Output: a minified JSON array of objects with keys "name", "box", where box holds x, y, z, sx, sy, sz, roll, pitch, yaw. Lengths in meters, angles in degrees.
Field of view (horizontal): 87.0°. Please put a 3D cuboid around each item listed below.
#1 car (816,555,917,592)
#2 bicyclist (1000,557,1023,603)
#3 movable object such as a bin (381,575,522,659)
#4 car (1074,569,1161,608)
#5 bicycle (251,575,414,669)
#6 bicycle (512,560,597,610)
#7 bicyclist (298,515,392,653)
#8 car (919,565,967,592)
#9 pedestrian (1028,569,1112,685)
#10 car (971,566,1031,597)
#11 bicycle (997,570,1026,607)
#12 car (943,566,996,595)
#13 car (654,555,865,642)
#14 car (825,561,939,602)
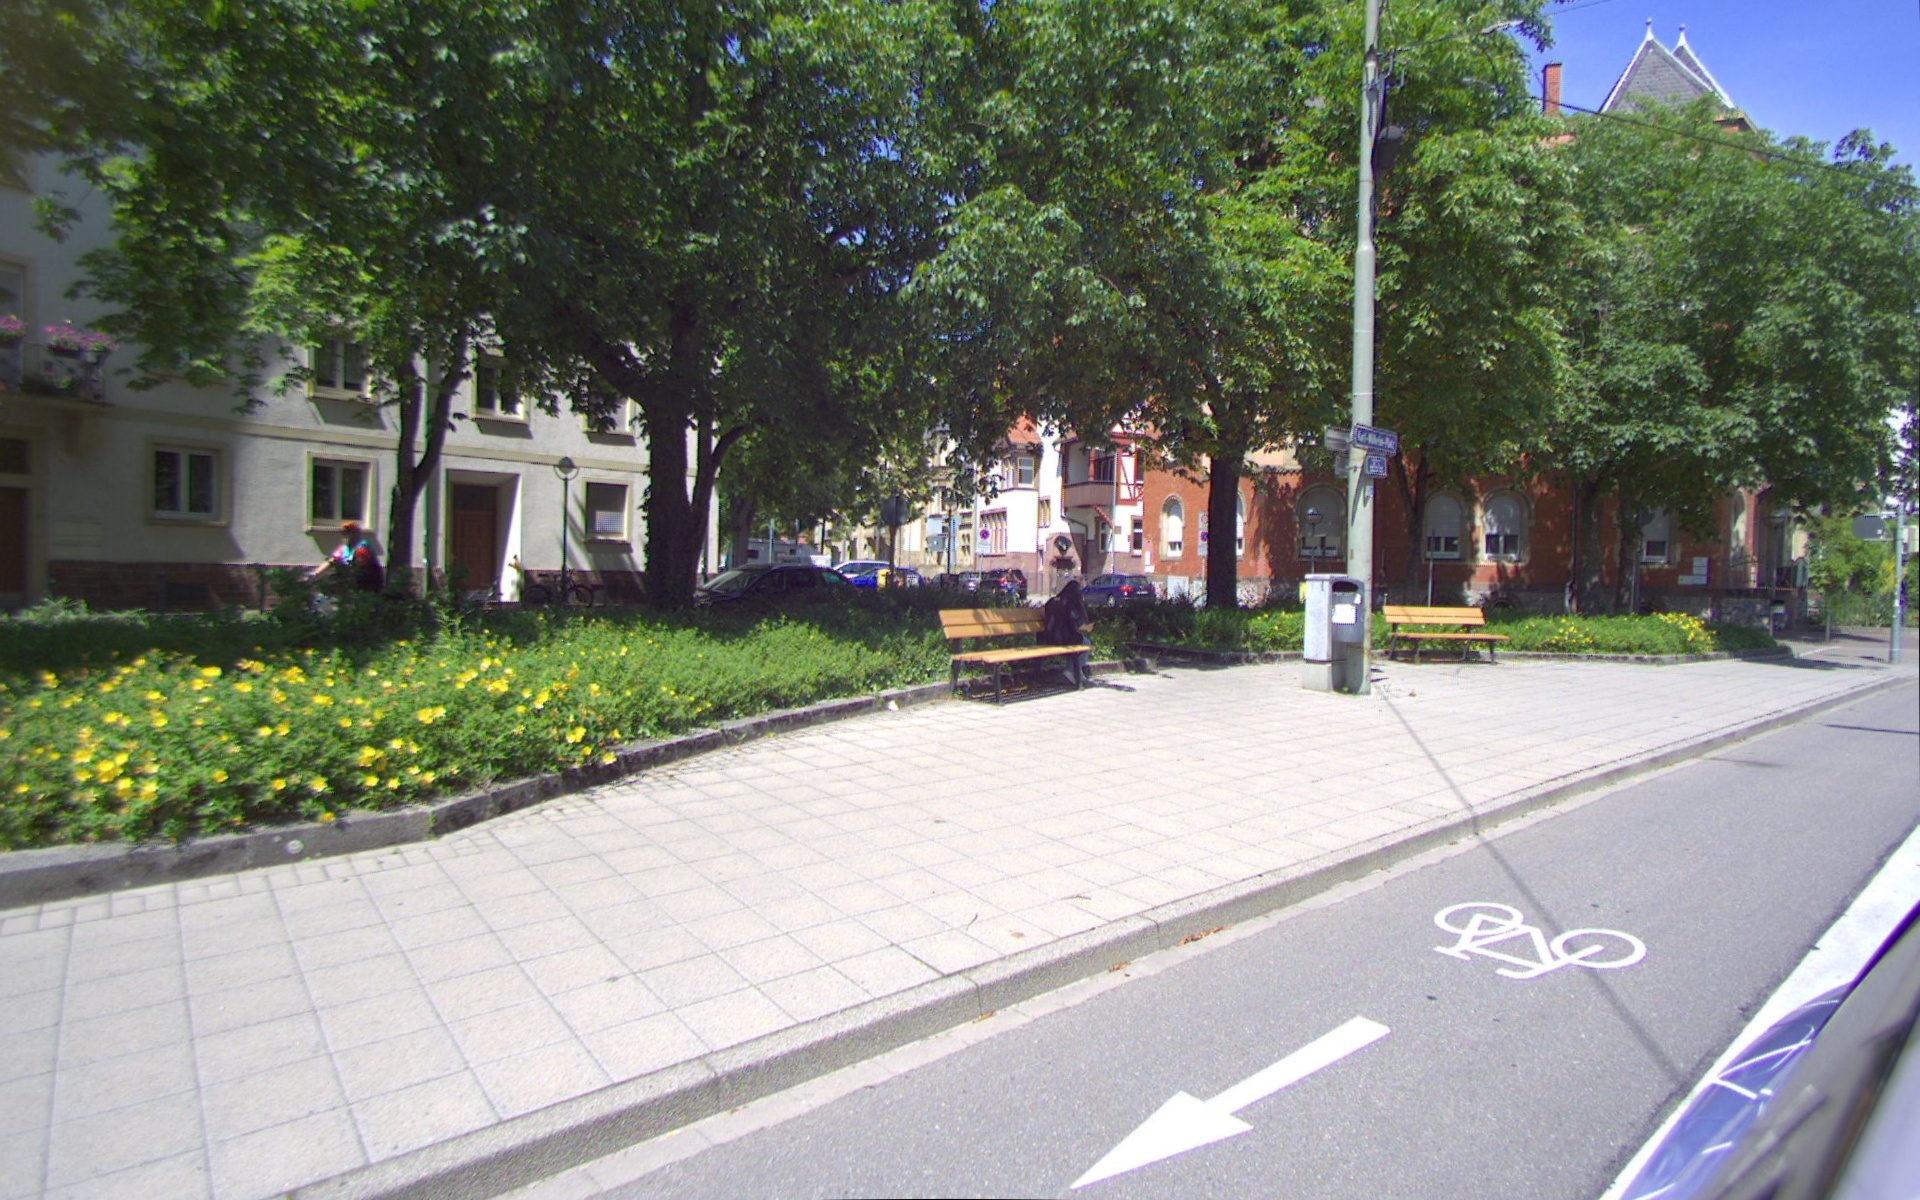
[{"name":"car","box":[-4.199,-1.183,45.586,4.228,1.582,1.649,1,2,-20]},{"name":"bicyclist","box":[1.896,-0.740,37.263,0.627,1.643,0.865,1,1,-11]},{"name":"movable object such as a bin","box":[-7.574,0.216,15.158,0.859,1.169,1.749,2,2,25]},{"name":"car","box":[6.401,-0.492,41.635,1.610,1.470,4.329,1,2,-21]},{"name":"bicycle","box":[-8.352,0.252,13.561,0.674,1.169,1.789,2,2,25]},{"name":"bicycle","box":[-9.921,-0.371,24.795,0.513,1.169,1.905,2,2,41]},{"name":"bicyclist","box":[-8.290,-0.225,13.657,0.691,1.788,0.857,2,1,25]},{"name":"car","box":[-1.115,-1.386,64.444,1.668,1.582,4.255,1,2,-21]},{"name":"pedestrian","box":[1.159,0.263,10.657,0.648,1.164,0.635,2,1,34]},{"name":"car","box":[2.158,-1.010,54.599,1.668,1.582,4.255,1,2,-21]},{"name":"bicycle","box":[1.886,-0.430,37.264,0.627,1.309,1.935,1,2,-11]},{"name":"car","box":[0.503,-1.151,59.408,1.668,1.582,4.255,1,2,-21]},{"name":"car","box":[-3.930,-0.073,20.338,1.608,1.582,4.005,2,2,42]},{"name":"car","box":[-3.136,-0.739,40.485,4.228,1.582,1.649,0,2,-20]}]
